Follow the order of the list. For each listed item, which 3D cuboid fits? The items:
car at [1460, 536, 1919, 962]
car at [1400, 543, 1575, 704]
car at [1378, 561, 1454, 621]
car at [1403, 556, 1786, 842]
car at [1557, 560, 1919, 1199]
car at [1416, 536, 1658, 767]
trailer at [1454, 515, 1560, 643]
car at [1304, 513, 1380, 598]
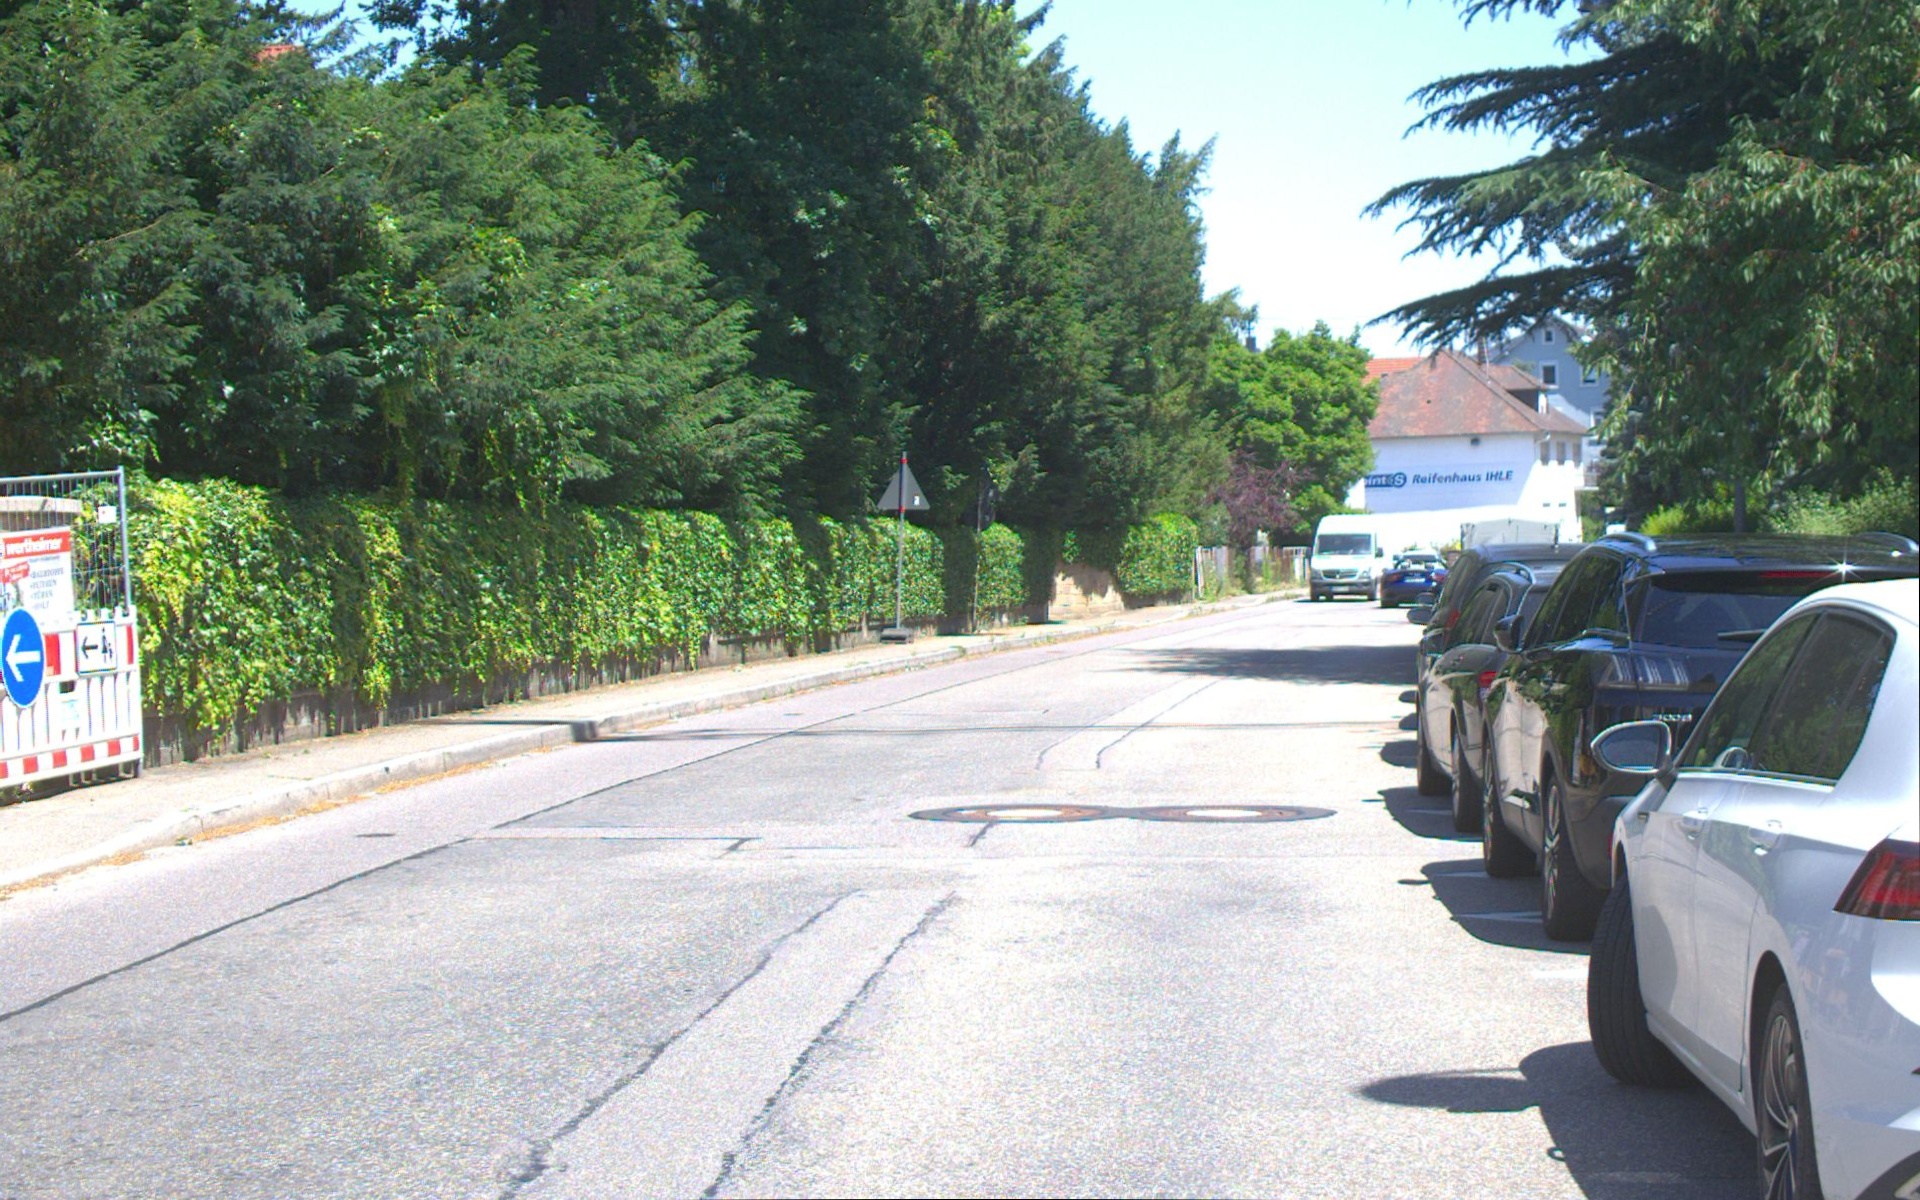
[{"bbox_3d":[3.082,0.519,14.609,1.662,1.533,4.203,0,1,5],"label":"car"},{"bbox_3d":[5.406,0.214,35.599,1.615,1.507,4.063,2,1,7],"label":"car"},{"bbox_3d":[12.171,-0.241,91.580,1.795,1.505,3.998,2,1,10],"label":"car"},{"bbox_3d":[3.549,0.487,19.871,1.662,1.427,4.203,-1,1,4],"label":"car"},{"bbox_3d":[2.516,0.643,8.264,1.662,1.430,4.128,1,1,4],"label":"car"},{"bbox_3d":[4.251,0.320,25.772,1.582,1.570,4.007,0,1,7],"label":"car"},{"bbox_3d":[9.126,-0.383,57.497,1.680,2.061,3.707,1,1,8],"label":"trailer"},{"bbox_3d":[11.717,-1.364,105.191,1.994,2.524,5.892,0,1,9],"label":"car"}]
